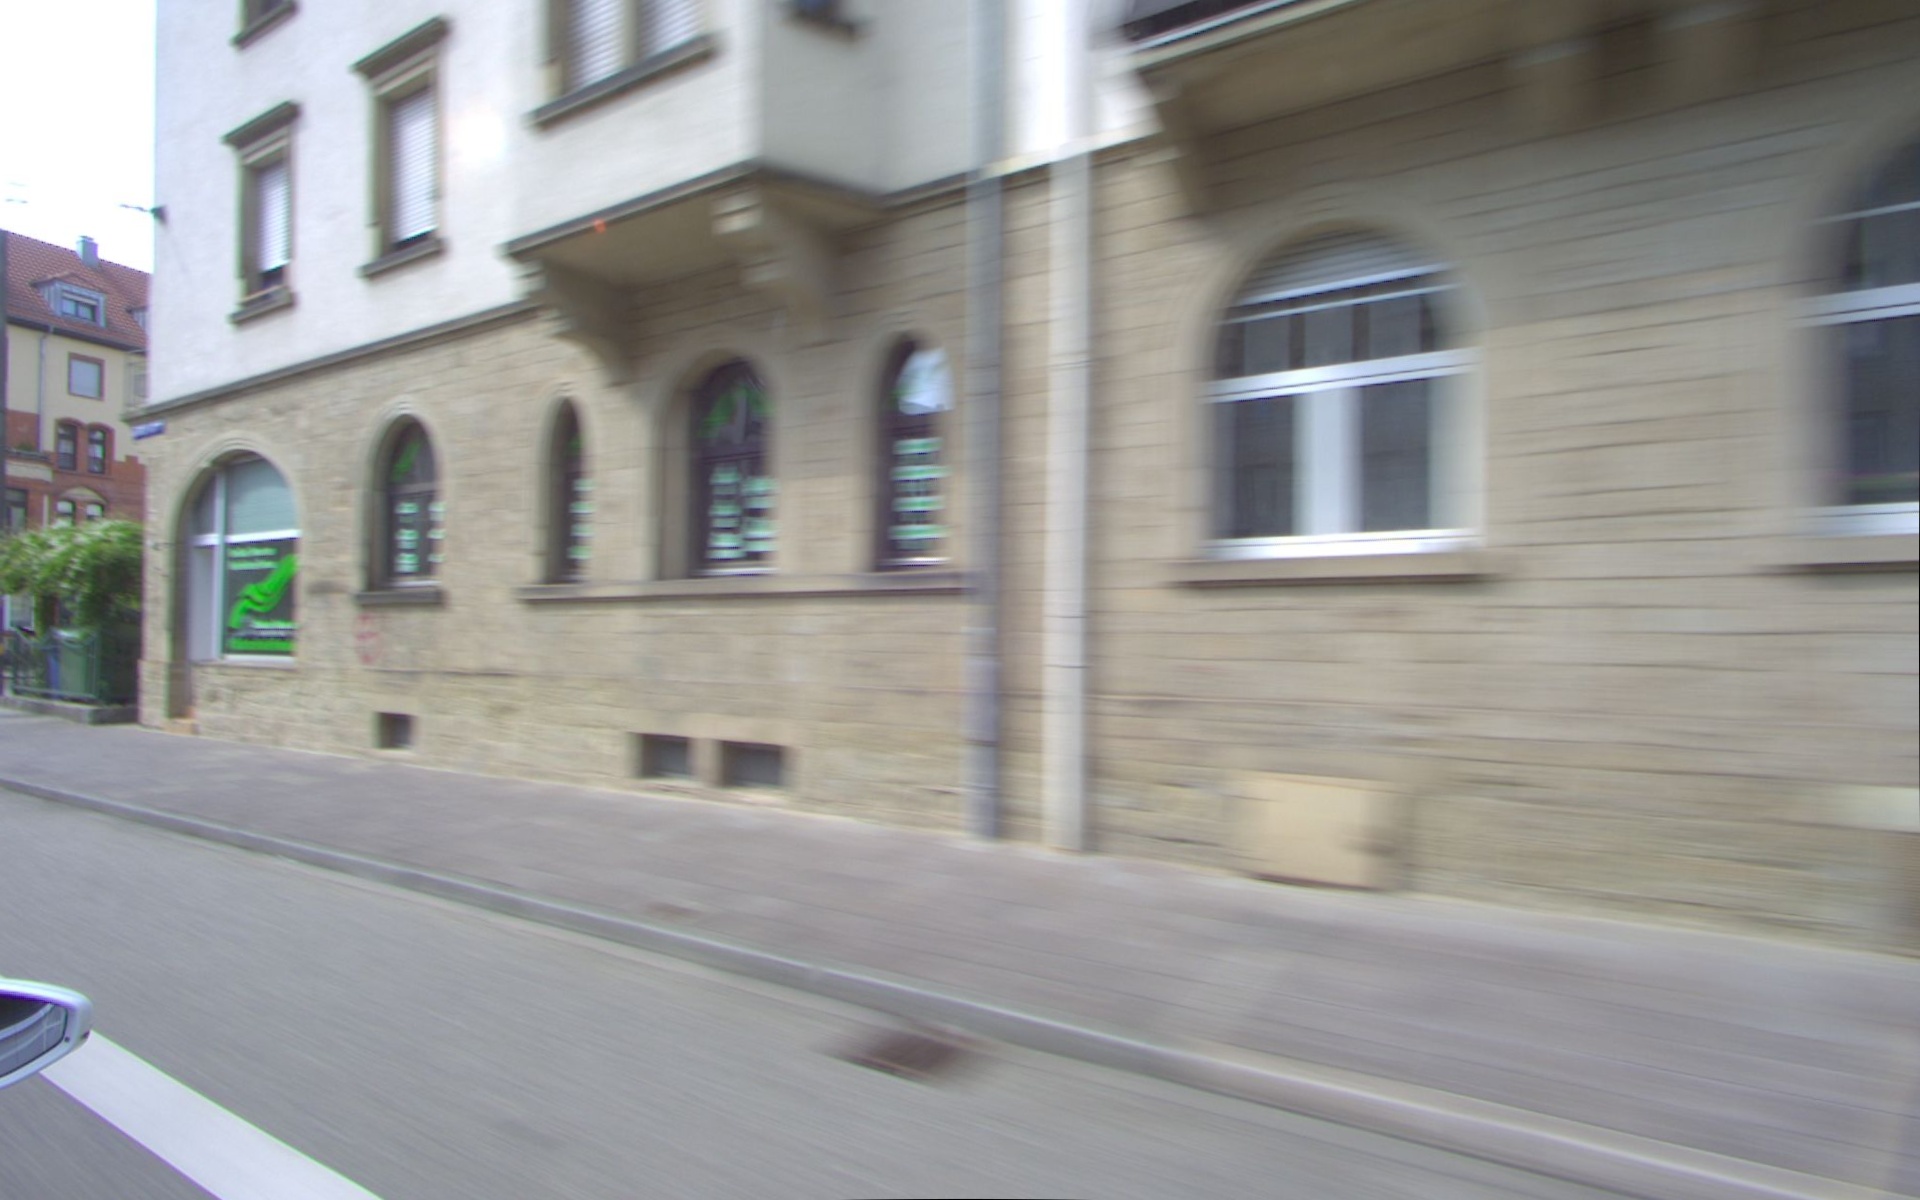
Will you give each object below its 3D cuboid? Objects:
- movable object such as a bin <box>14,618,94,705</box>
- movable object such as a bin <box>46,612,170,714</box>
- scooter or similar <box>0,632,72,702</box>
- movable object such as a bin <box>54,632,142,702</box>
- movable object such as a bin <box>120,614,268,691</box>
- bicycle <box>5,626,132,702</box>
[{"bbox_3d":[-16.077,1.075,17.769,0.966,1.491,0.715,0,-1,24],"label":"movable object such as a bin"},{"bbox_3d":[-13.951,0.990,16.386,2.071,1.559,1.047,-1,-1,35],"label":"movable object such as a bin"},{"bbox_3d":[-17.075,1.202,18.281,0.456,1.232,1.194,0,-1,25],"label":"scooter or similar"},{"bbox_3d":[-15.084,1.150,17.534,0.650,1.190,1.025,-1,-1,34],"label":"movable object such as a bin"},{"bbox_3d":[-15.146,1.018,19.876,1.036,1.431,2.093,0,-1,25],"label":"movable object such as a bin"},{"bbox_3d":[-16.524,1.160,18.609,0.272,1.346,1.829,0,-1,22],"label":"bicycle"}]
